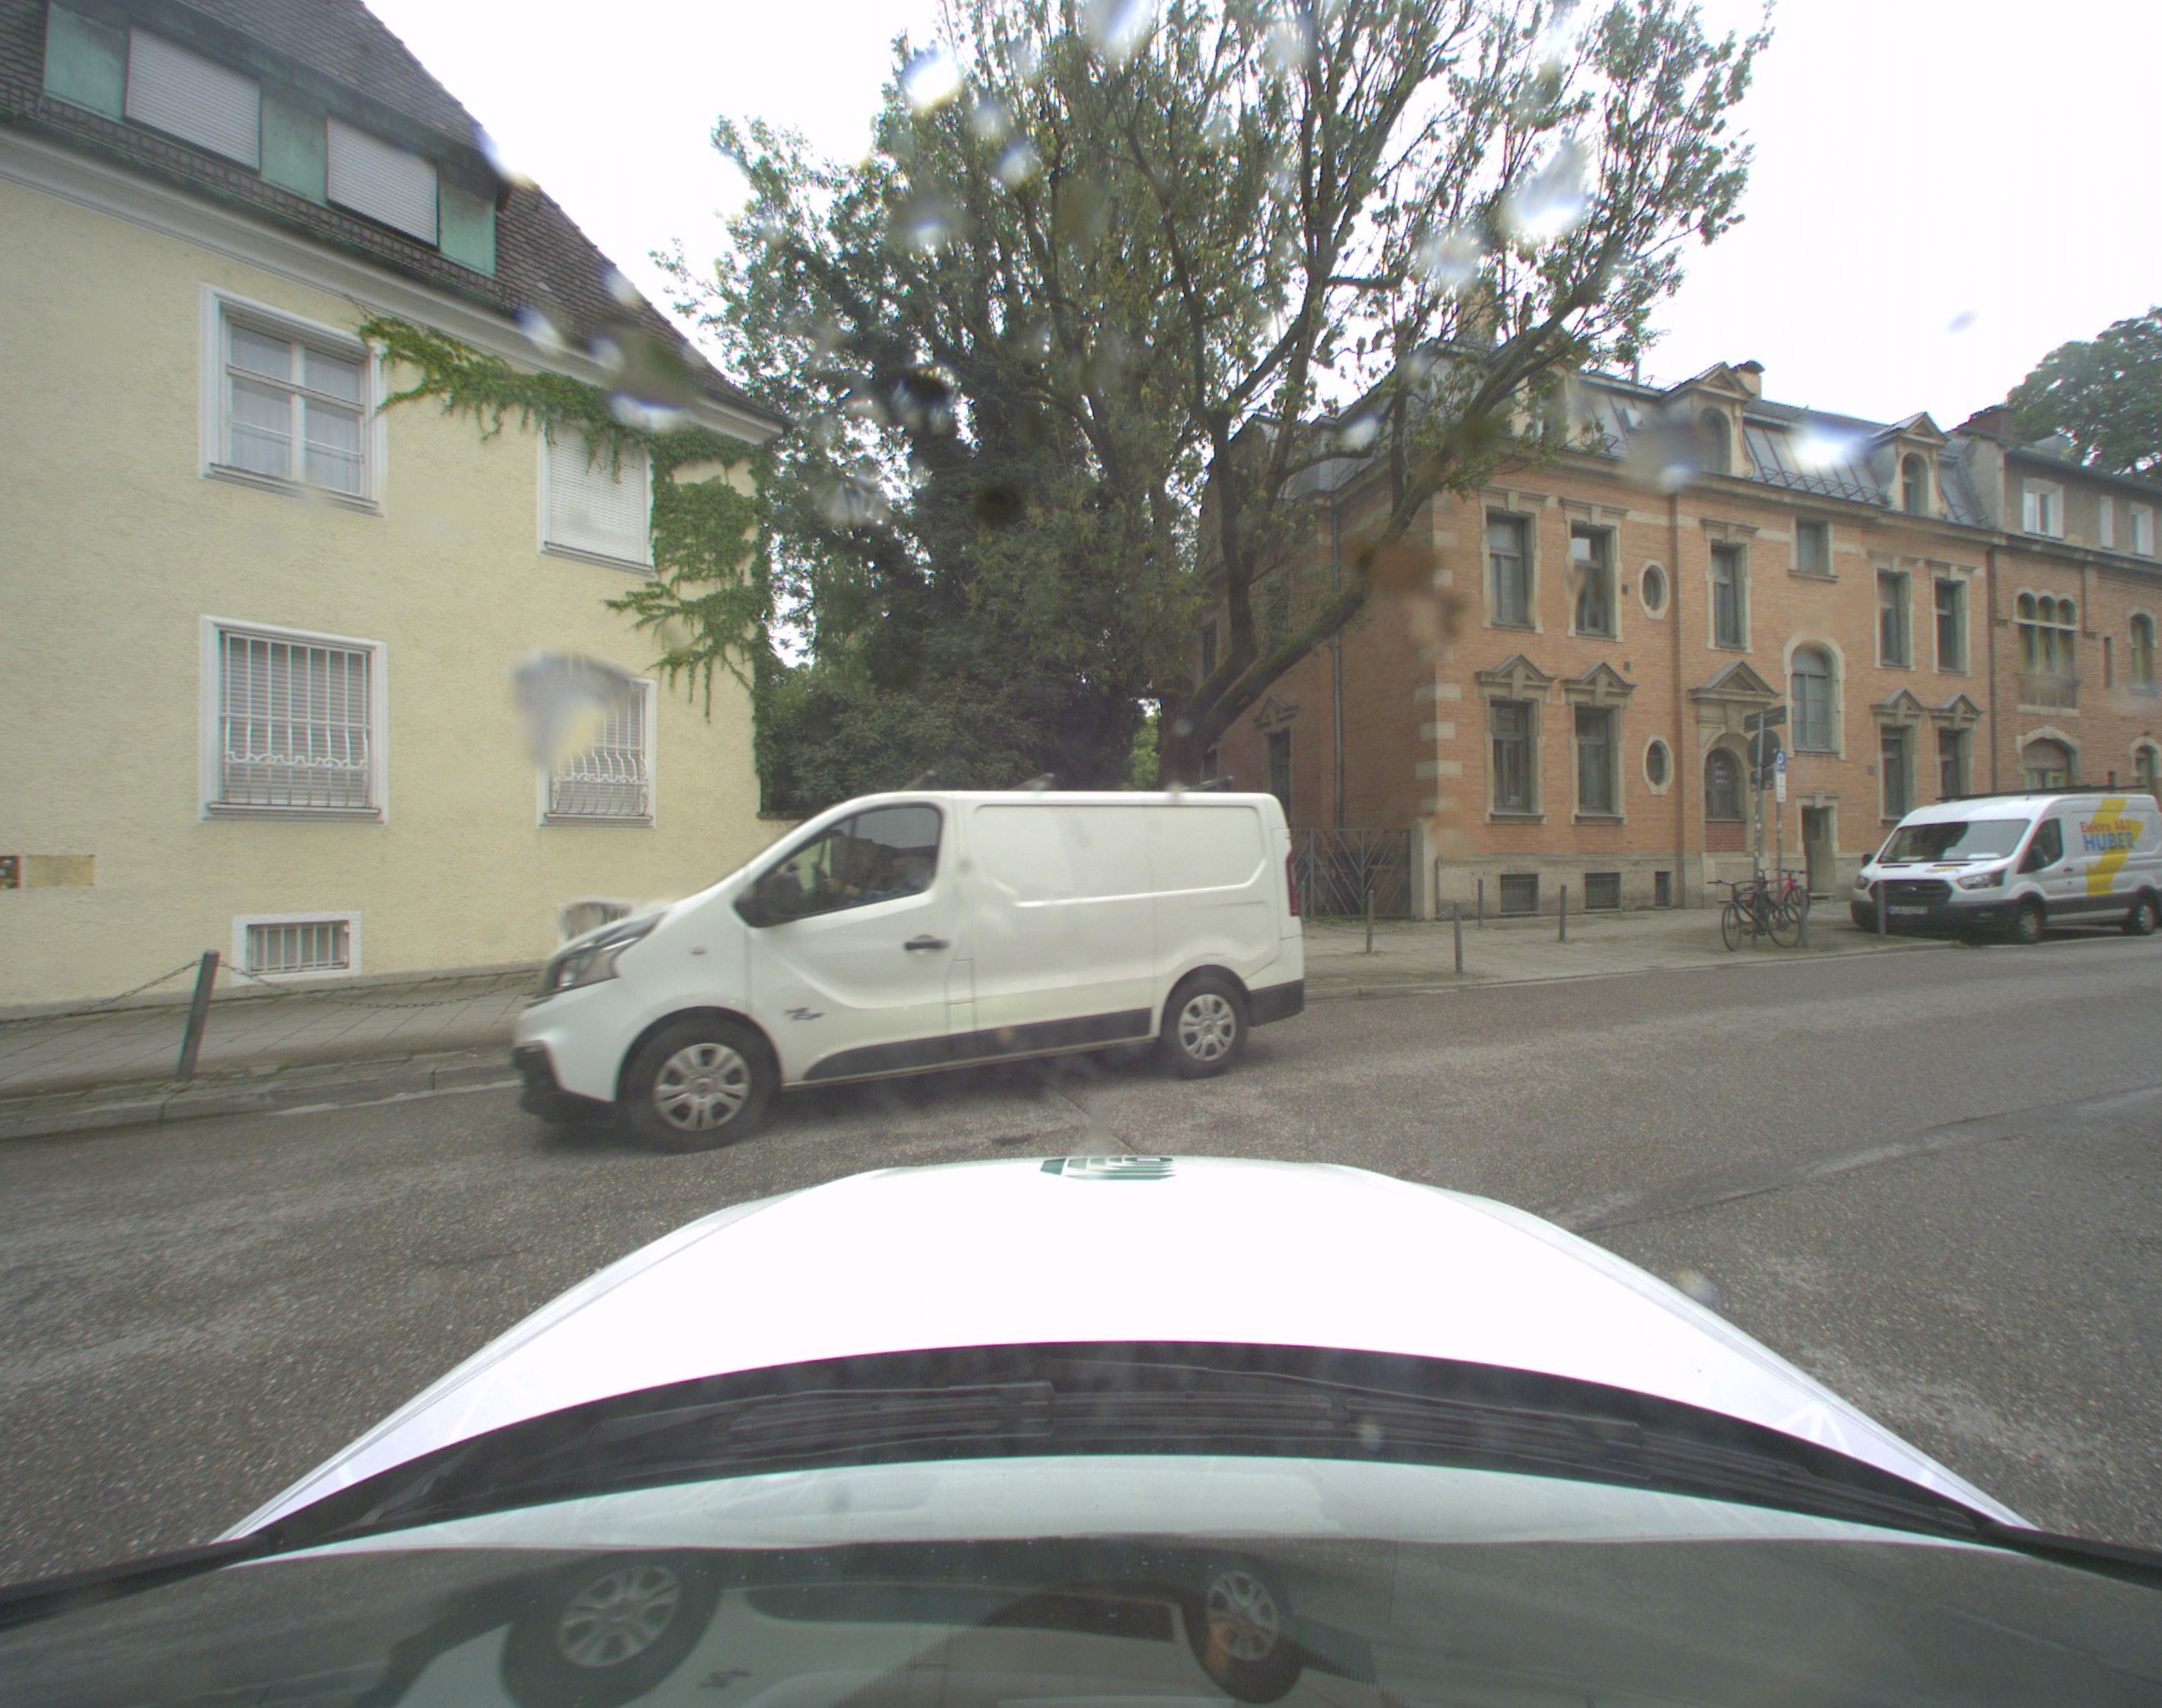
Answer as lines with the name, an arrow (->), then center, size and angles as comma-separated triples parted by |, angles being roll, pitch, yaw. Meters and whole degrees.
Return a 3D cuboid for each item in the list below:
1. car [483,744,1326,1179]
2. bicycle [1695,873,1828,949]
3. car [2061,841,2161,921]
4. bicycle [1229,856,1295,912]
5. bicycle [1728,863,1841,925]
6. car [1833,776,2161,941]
car -> -0.939, 0.496, 5.774 | 4.964, 2.042, 2.030 | -1, -2, -24
bicycle -> 10.012, 0.816, 11.989 | 1.759, 1.054, 0.578 | 0, -1, -14
car -> 21.543, 0.495, 15.889 | 3.994, 1.455, 1.684 | 0, -3, -18
bicycle -> 4.201, 0.676, 19.028 | 0.535, 1.219, 2.070 | 0, -1, -17
bicycle -> 12.657, 0.707, 14.657 | 1.891, 1.054, 0.579 | 0, 0, -14
car -> 15.965, 0.101, 13.983 | 5.467, 2.468, 1.986 | 0, -3, -18
